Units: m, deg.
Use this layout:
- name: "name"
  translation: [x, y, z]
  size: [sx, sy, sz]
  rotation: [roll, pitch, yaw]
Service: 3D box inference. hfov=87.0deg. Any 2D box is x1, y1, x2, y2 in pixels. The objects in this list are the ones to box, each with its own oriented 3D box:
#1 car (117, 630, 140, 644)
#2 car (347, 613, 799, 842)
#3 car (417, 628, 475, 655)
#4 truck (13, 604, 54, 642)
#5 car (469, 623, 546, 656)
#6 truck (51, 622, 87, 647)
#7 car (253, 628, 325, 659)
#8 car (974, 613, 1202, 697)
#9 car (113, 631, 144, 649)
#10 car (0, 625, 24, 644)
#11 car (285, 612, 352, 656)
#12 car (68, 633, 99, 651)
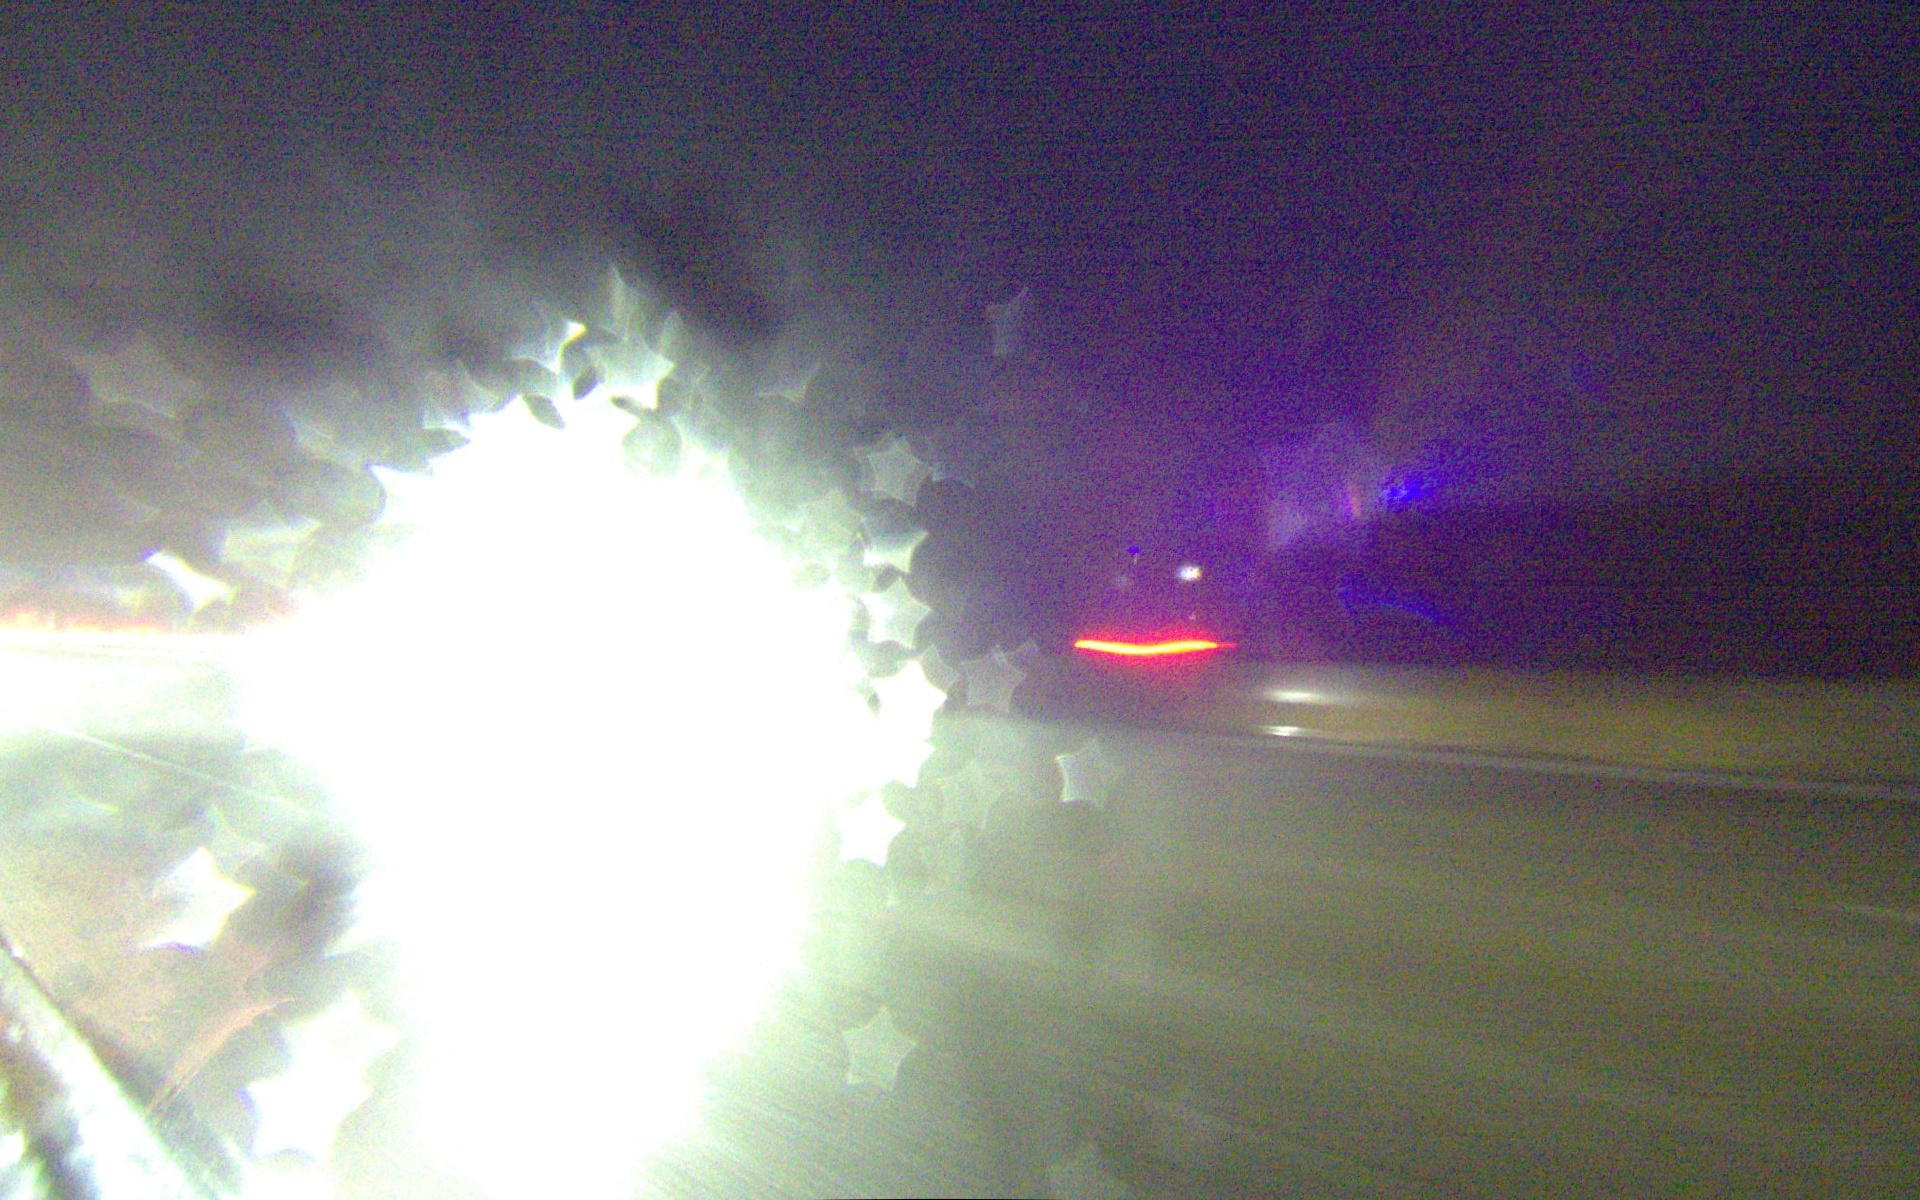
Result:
- name: "car"
  translation: [-110.996, 4.939, 135.115]
  size: [3.884, 1.685, 1.745]
  rotation: [-1, 0, 40]
- name: "car"
  translation: [-3.386, 0.868, 8.442]
  size: [4.242, 1.442, 1.640]
  rotation: [-2, -1, 39]
- name: "car"
  translation: [-34.040, 2.704, 66.975]
  size: [4.539, 1.697, 1.579]
  rotation: [-1, 0, 37]
- name: "truck"
  translation: [-163.588, 3.972, 178.625]
  size: [17.289, 6.460, 3.190]
  rotation: [-1, 0, 40]
- name: "car"
  translation: [-22.713, 1.951, 50.747]
  size: [4.344, 1.529, 1.788]
  rotation: [-1, 0, 39]
- name: "truck"
  translation: [-112.549, 4.268, 127.841]
  size: [6.697, 3.022, 2.426]
  rotation: [-1, 0, 40]
- name: "car"
  translation: [-32.803, 2.090, 49.417]
  size: [4.671, 1.405, 1.734]
  rotation: [-1, 0, 41]
- name: "car"
  translation: [2.545, 1.054, 20.745]
  size: [4.344, 1.529, 1.788]
  rotation: [-1, 0, 39]
- name: "car"
  translation: [-84.364, 4.067, 102.720]
  size: [3.884, 1.685, 1.745]
  rotation: [-1, 0, 40]
- name: "car"
  translation: [-99.221, 3.559, 105.369]
  size: [5.161, 1.820, 1.973]
  rotation: [-1, 0, 40]
- name: "car"
  translation: [-36.947, 1.915, 58.201]
  size: [4.842, 2.419, 1.949]
  rotation: [-1, 0, 41]
- name: "car"
  translation: [-86.639, 4.123, 99.979]
  size: [3.884, 1.685, 1.745]
  rotation: [-1, 0, 40]
